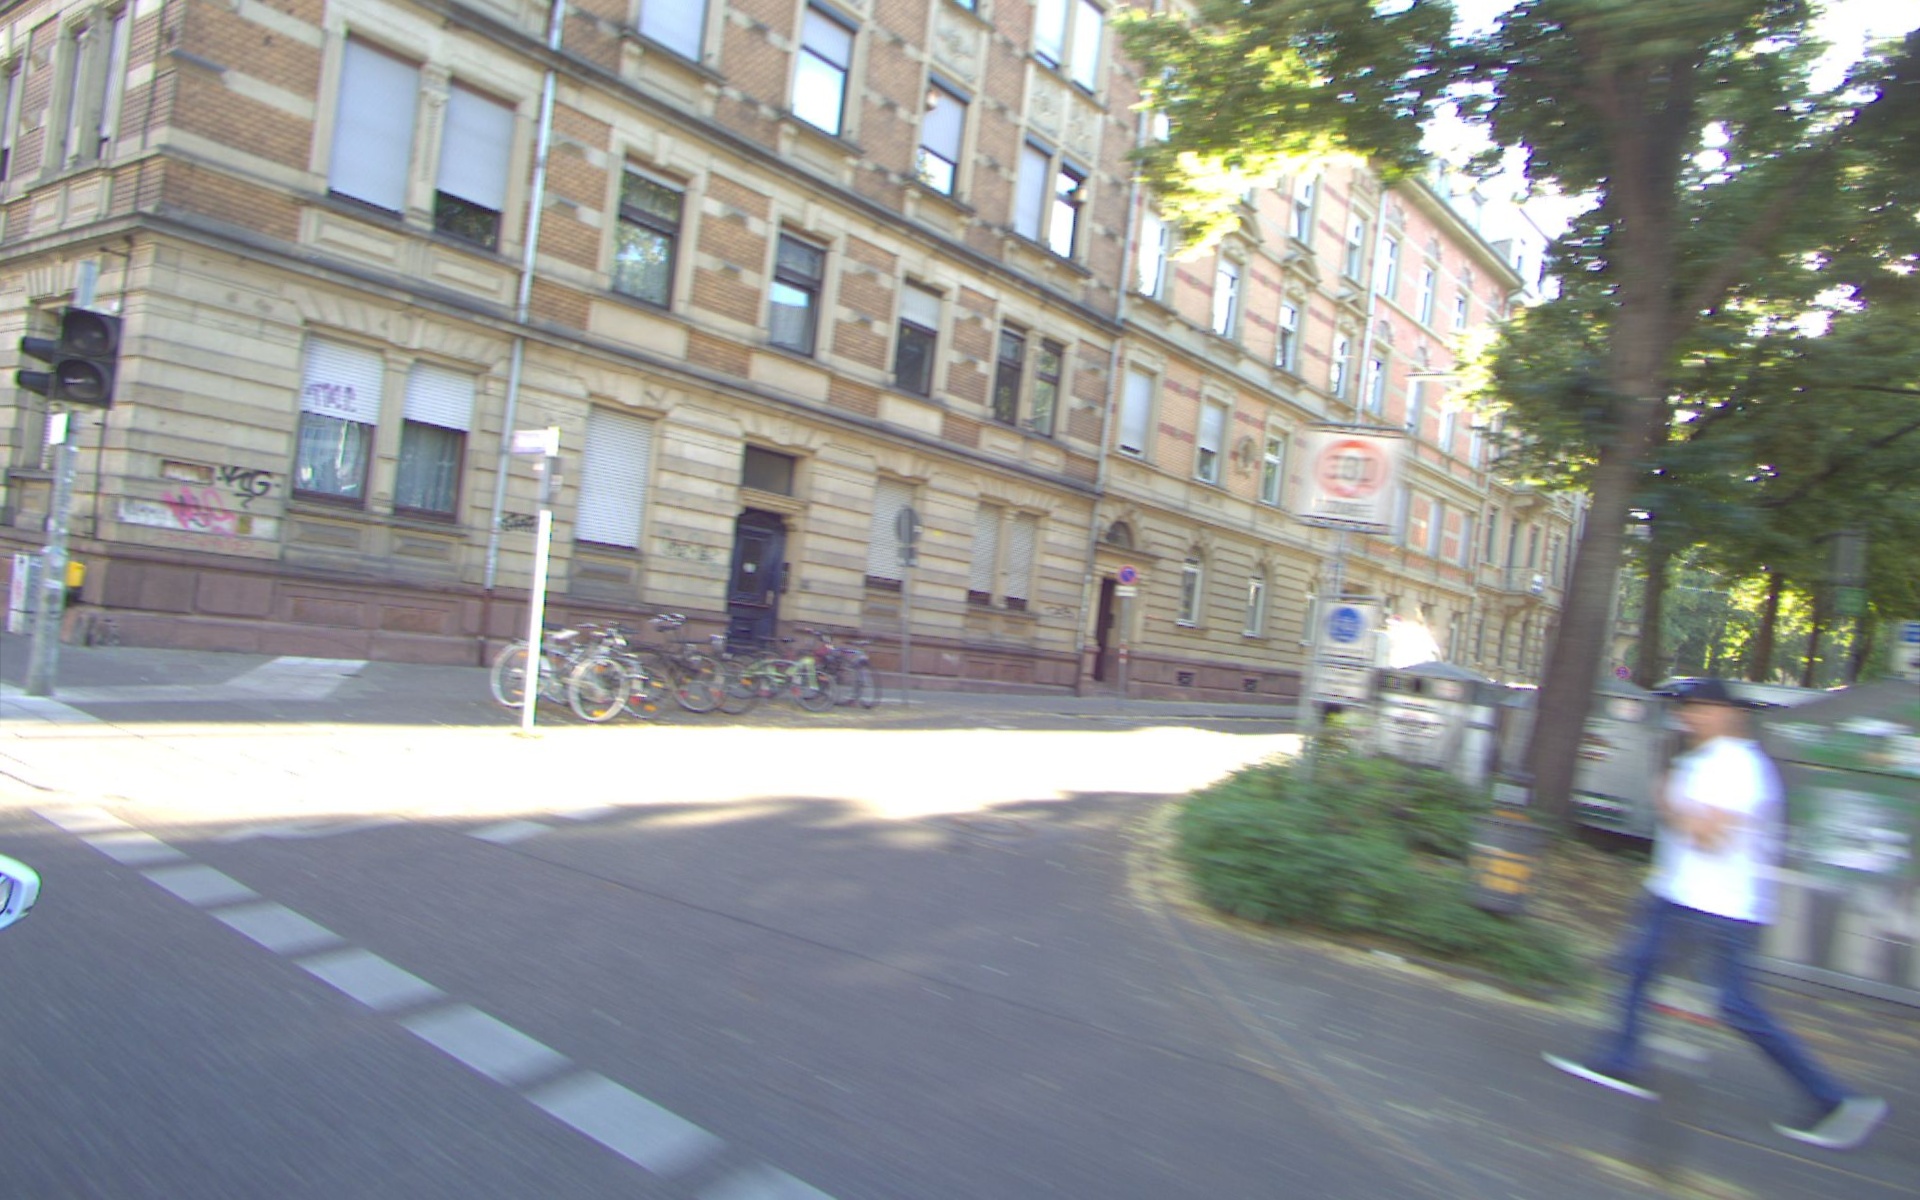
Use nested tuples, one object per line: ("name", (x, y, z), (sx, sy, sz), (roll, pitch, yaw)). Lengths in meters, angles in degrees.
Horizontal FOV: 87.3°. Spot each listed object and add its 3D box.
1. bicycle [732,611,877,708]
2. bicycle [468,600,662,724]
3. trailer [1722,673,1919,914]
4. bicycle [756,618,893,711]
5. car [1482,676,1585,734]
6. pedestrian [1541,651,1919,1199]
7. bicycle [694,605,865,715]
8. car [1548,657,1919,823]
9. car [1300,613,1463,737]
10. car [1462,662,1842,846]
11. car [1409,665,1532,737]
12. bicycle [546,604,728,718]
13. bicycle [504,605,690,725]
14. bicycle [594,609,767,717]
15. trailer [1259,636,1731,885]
("bicycle", (-2.265, 0.863, 14.669), (1.919, 1.137, 0.447), (7, -1, 8))
("bicycle", (-4.174, 0.640, 10.637), (1.871, 1.037, 0.453), (7, -1, 13))
("trailer", (8.926, 1.796, 8.984), (3.143, 1.907, 1.572), (5, 0, 42))
("bicycle", (-2.031, 0.958, 15.069), (1.871, 1.137, 0.405), (7, -1, 11))
("car", (19.120, 3.517, 33.457), (4.194, 1.443, 1.803), (11, -4, -44))
("pedestrian", (2.963, 1.129, 3.882), (1.016, 1.686, 0.784), (9, 0, 32))
("bicycle", (-2.433, 0.811, 13.673), (2.067, 1.196, 0.616), (7, -1, 5))
("car", (13.541, 2.348, 17.723), (1.892, 2.073, 4.994), (9, -3, -40))
("car", (10.762, 1.952, 25.459), (1.948, 2.547, 4.852), (5, -4, 44))
("car", (9.347, 2.010, 13.775), (1.963, 1.751, 3.884), (10, -4, -44))
("car", (14.892, 2.965, 29.258), (4.194, 1.592, 1.803), (11, -4, -44))
("bicycle", (-3.738, 0.704, 11.690), (1.872, 1.052, 0.464), (7, -1, 4))
("bicycle", (-3.964, 0.697, 10.987), (1.871, 1.037, 0.418), (7, -1, 13))
("bicycle", (-3.366, 0.748, 12.127), (1.871, 1.037, 0.498), (7, -1, 11))
("trailer", (5.500, 1.511, 10.653), (1.961, 1.753, 3.883), (7, -1, -44))
